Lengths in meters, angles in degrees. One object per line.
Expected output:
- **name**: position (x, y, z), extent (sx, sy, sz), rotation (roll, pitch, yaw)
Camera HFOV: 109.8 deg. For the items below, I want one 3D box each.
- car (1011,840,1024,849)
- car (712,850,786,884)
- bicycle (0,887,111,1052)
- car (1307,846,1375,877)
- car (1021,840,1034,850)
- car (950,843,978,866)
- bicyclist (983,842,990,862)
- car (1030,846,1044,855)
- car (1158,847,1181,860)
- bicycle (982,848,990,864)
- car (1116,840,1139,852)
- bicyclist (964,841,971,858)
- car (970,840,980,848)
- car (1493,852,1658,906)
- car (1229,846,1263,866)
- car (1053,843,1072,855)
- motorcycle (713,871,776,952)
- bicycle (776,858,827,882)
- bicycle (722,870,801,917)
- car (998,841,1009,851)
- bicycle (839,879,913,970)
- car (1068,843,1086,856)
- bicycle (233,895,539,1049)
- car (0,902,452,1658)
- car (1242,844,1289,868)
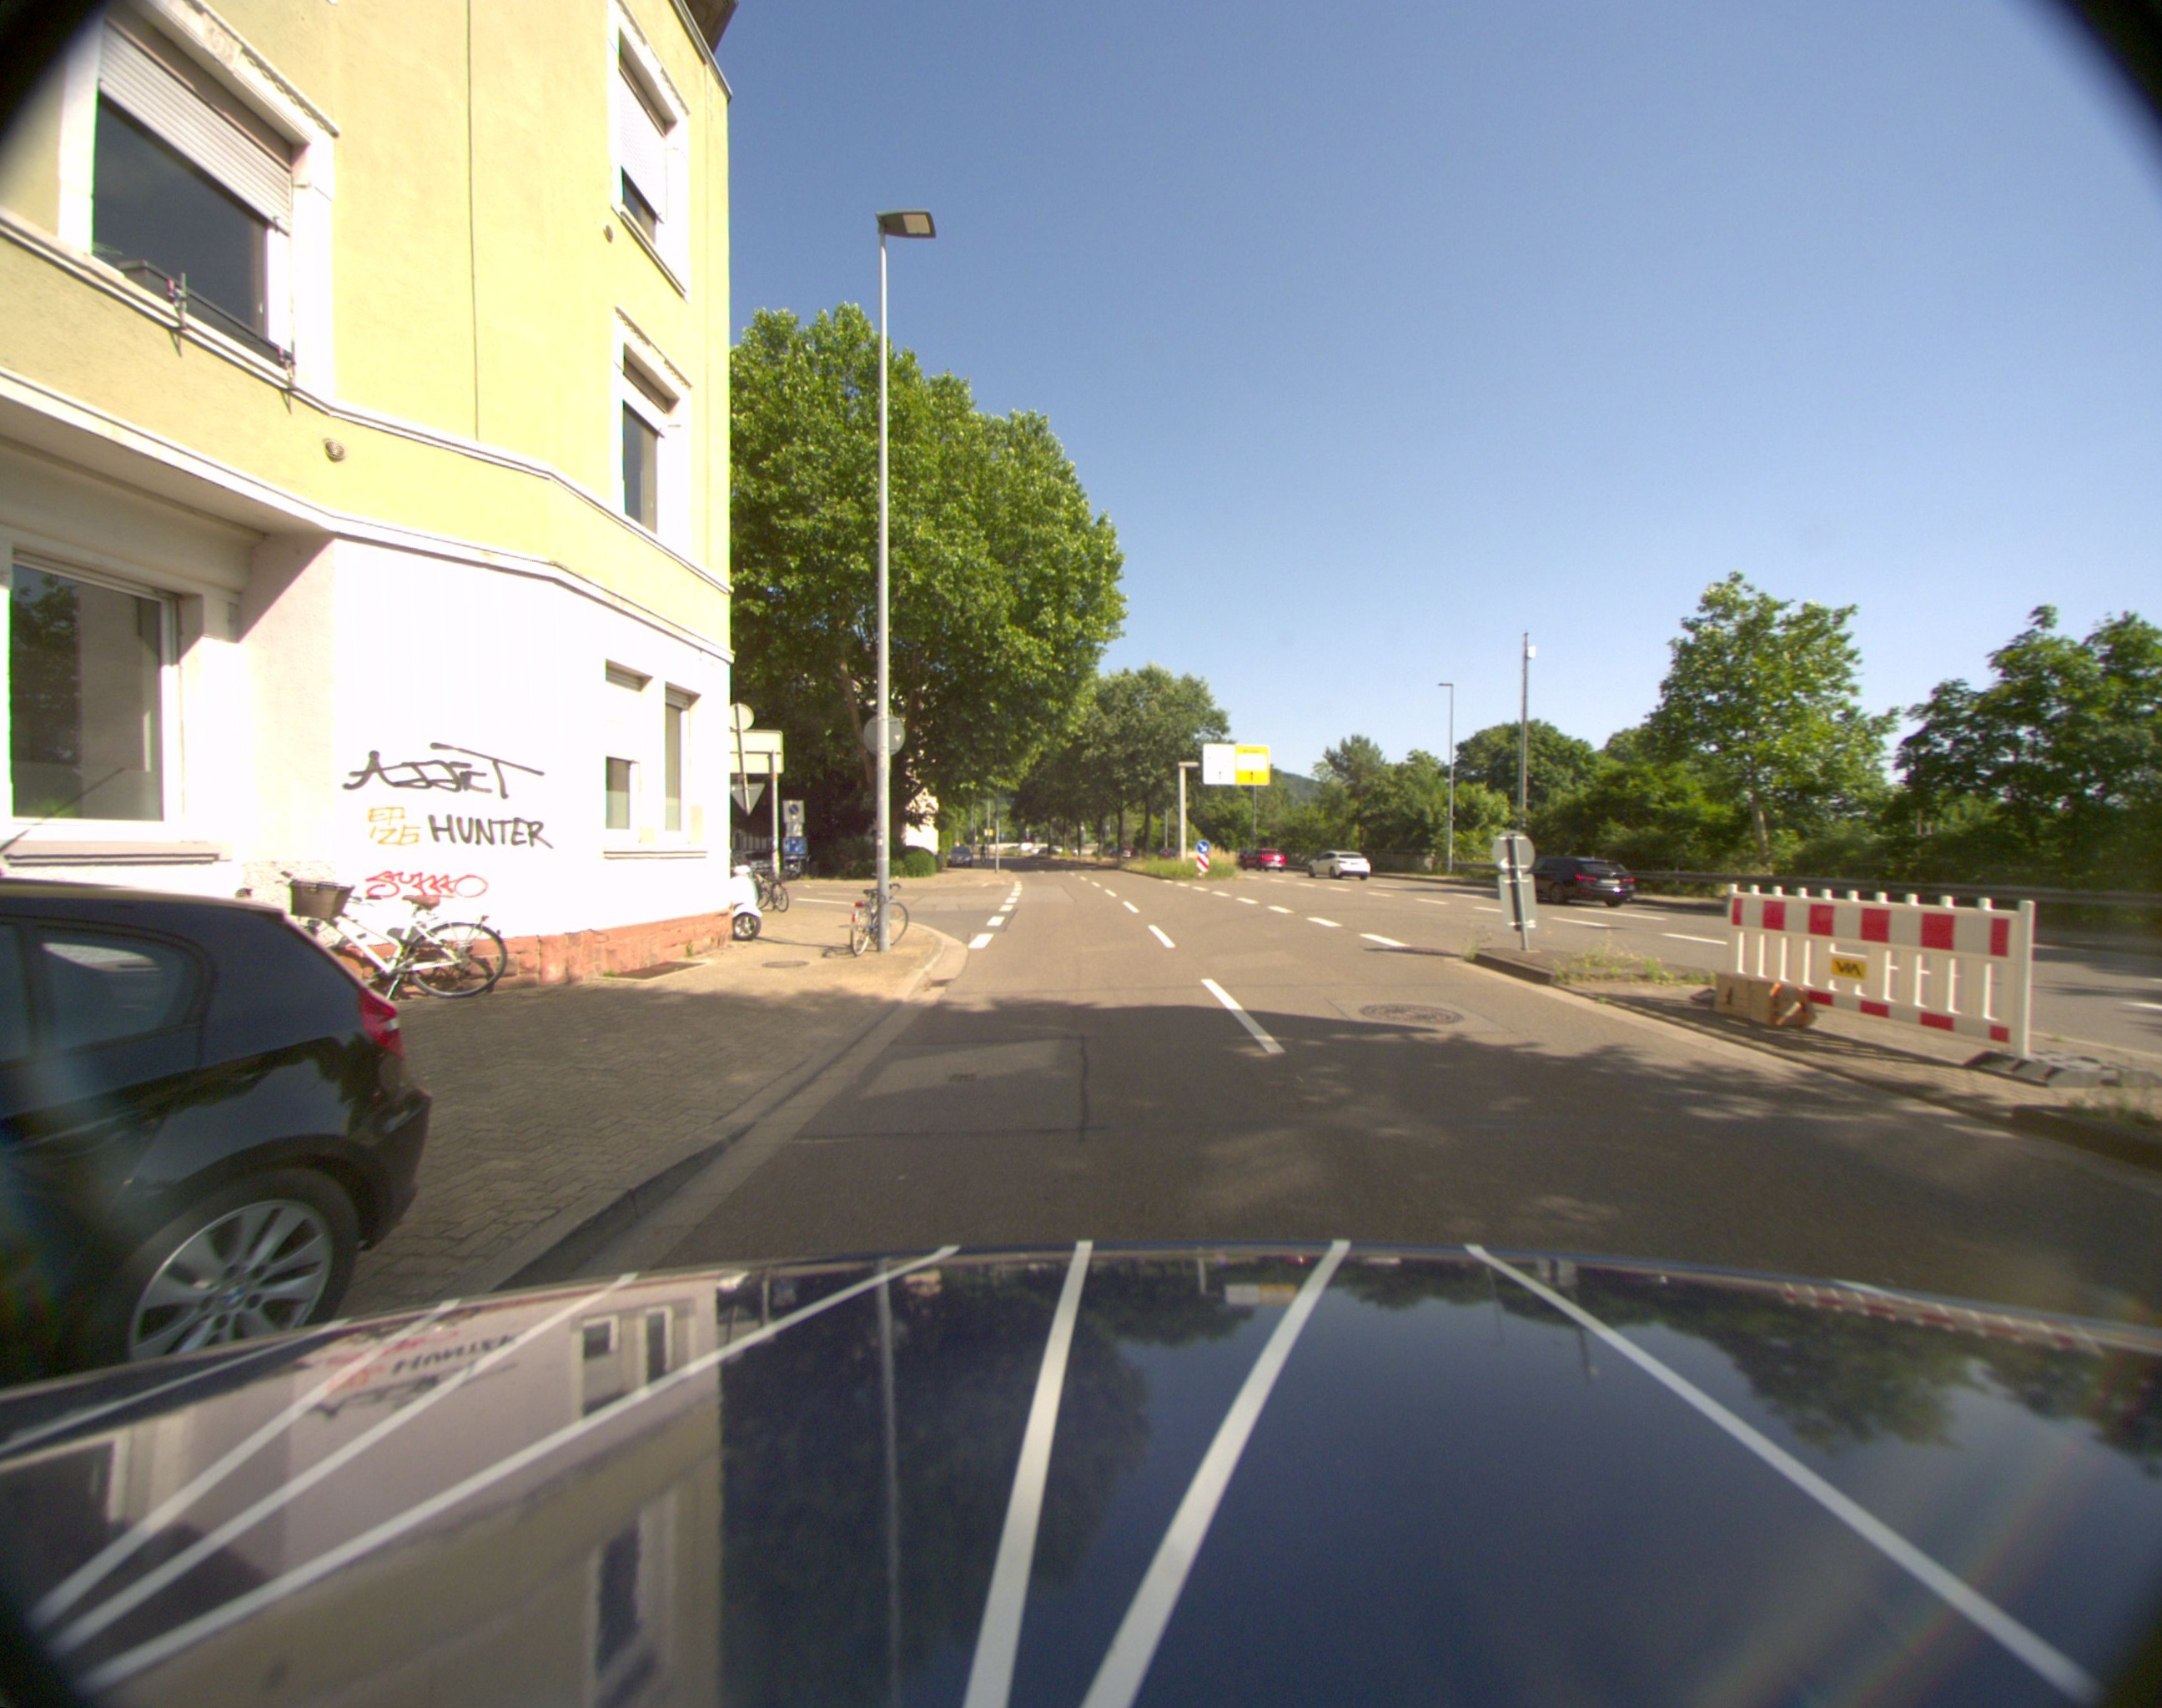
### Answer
- **car**: position (-13.202, -1.929, 158.088), extent (2.002, 1.856, 3.993), rotation (1, 1, -17)
- **car**: position (-15.344, 0.556, 35.054), extent (3.783, 1.443, 1.814), rotation (1, 1, 45)
- **bicycle**: position (-6.759, 0.709, 3.986), extent (0.609, 0.940, 2.114), rotation (2, 1, 1)
- **car**: position (13.401, 0.341, 39.409), extent (1.869, 1.444, 4.202), rotation (1, 1, -3)
- **car**: position (-9.809, -1.649, 138.775), extent (1.635, 1.904, 3.675), rotation (1, 1, -15)
- **car**: position (-8.123, 0.017, 52.426), extent (1.794, 1.504, 3.889), rotation (0, 1, -10)
- **bicyclist**: position (-7.482, -0.162, 59.938), extent (0.541, 1.624, 0.589), rotation (0, 1, -6)
- **car**: position (-7.677, -0.670, 132.132), extent (1.635, 1.487, 3.675), rotation (-1, 1, -15)
- **car**: position (9.678, -0.064, 83.064), extent (1.681, 1.461, 3.574), rotation (0, 1, -7)
- **bicycle**: position (-7.488, 0.152, 59.939), extent (0.554, 1.182, 1.285), rotation (0, 1, -6)
- **car**: position (6.226, -1.082, 102.640), extent (1.924, 1.654, 4.306), rotation (0, 1, -13)
- **bicyclist**: position (-12.912, -0.523, 86.107), extent (0.648, 1.883, 0.838), rotation (0, 1, -17)
- **car**: position (-24.201, -2.352, 173.257), extent (1.635, 1.801, 3.586), rotation (0, 1, -15)
- **car**: position (14.945, 0.698, 23.347), extent (1.999, 1.403, 4.614), rotation (1, 1, -1)
- **car**: position (13.391, 0.141, 61.794), extent (1.646, 1.492, 3.647), rotation (0, 1, -6)
- **car**: position (-2.916, -0.754, 119.229), extent (2.001, 1.880, 3.994), rotation (-1, 1, -15)
- **motorcycle**: position (-5.479, 0.887, 12.320), extent (0.474, 1.143, 1.759), rotation (1, 1, -39)
- **bicycle**: position (-12.468, 0.704, 33.906), extent (0.970, 0.978, 1.902), rotation (1, 1, 39)
- **bicycle**: position (-7.588, 0.917, 18.037), extent (1.878, 1.028, 0.627), rotation (0, 1, 26)
- **car**: position (-14.996, -1.586, 146.952), extent (1.635, 1.801, 3.586), rotation (0, 1, -15)
- **bicycle**: position (-2.792, 0.925, 10.501), extent (0.578, 1.081, 1.734), rotation (0, 1, -1)
- **car**: position (-0.622, -0.644, 111.264), extent (2.000, 1.880, 3.995), rotation (-1, 1, -11)
- **bicycle**: position (-5.699, 0.904, 6.357), extent (0.537, 1.040, 1.832), rotation (2, 1, 45)
- **car**: position (-3.075, 0.894, 0.497), extent (1.744, 1.408, 4.081), rotation (0, 1, 4)
- **car**: position (12.232, 0.088, 50.505), extent (1.802, 1.511, 3.961), rotation (1, 1, -6)
